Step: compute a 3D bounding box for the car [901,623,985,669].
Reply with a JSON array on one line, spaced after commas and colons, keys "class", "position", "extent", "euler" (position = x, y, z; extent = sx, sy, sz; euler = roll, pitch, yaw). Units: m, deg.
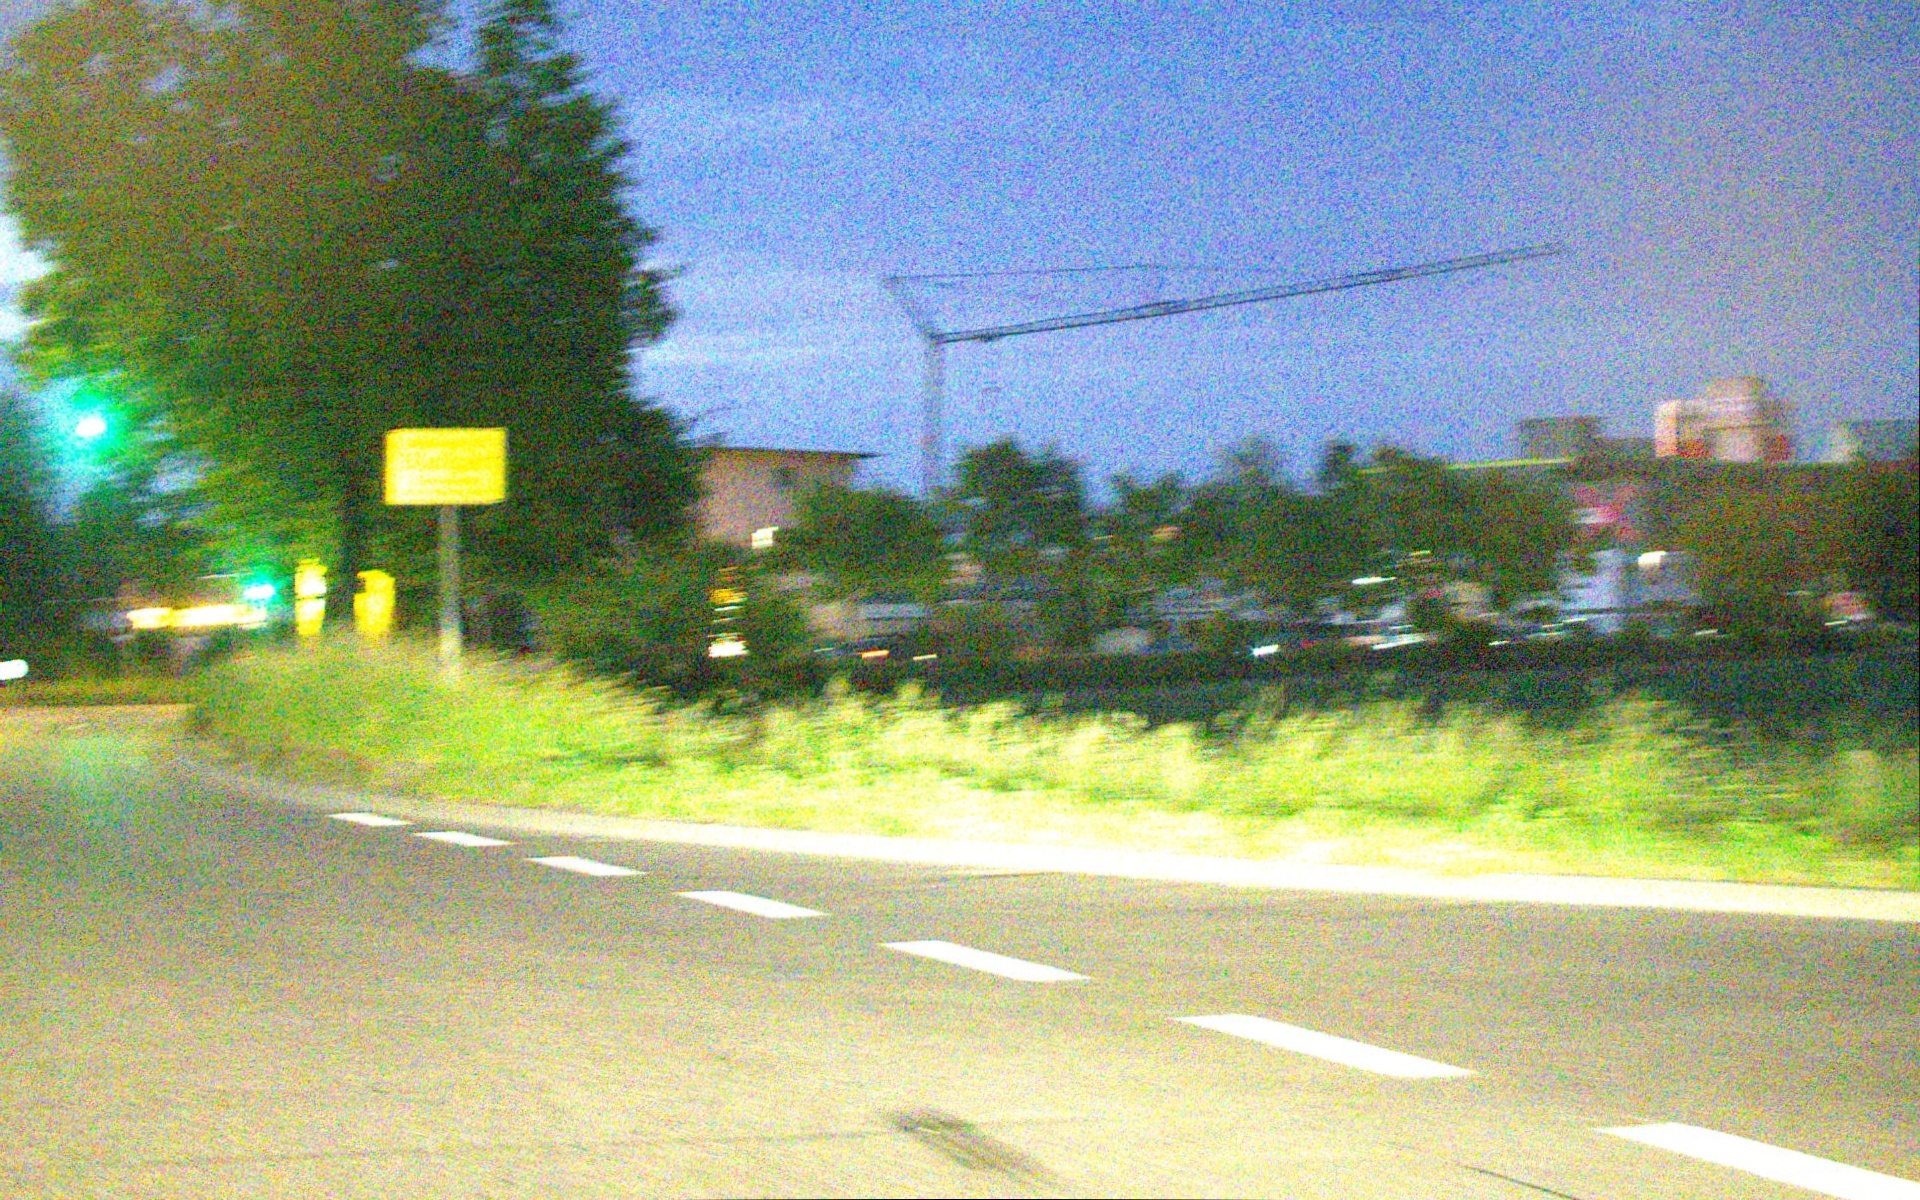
[{"class": "car", "position": [-0.775, 2.126, 160.301], "extent": [1.997, 2.007, 3.992], "euler": [1, 1, 34]}]
